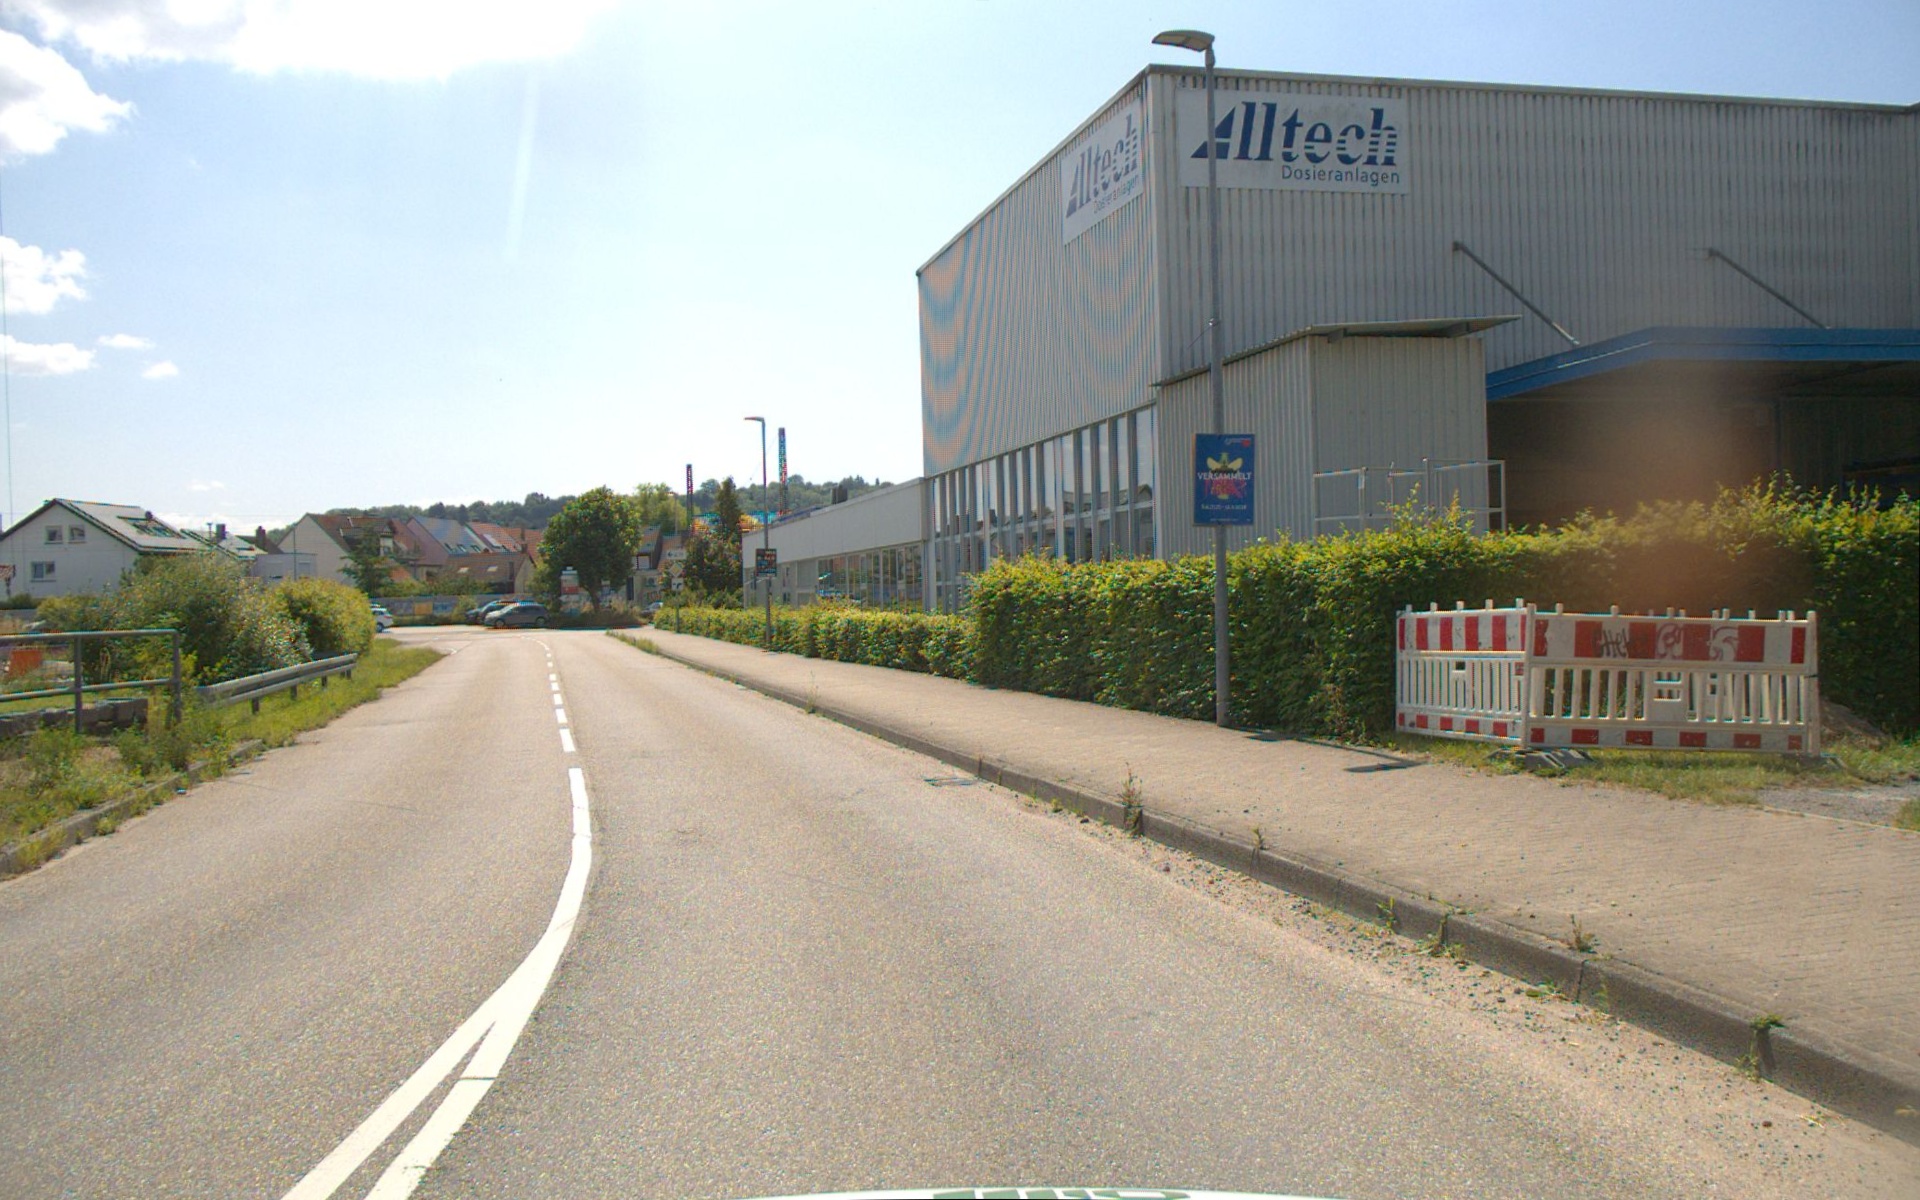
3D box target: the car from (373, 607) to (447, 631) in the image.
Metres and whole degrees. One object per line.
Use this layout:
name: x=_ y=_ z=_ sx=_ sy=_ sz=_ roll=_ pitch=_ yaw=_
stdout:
car: x=-34.750 y=1.204 z=104.554 sx=4.232 sy=1.503 sz=1.811 roll=1 pitch=-1 yaw=-27

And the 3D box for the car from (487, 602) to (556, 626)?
car: x=-28.554 y=0.917 z=107.721 sx=4.132 sy=1.488 sz=1.652 roll=-1 pitch=-1 yaw=-24

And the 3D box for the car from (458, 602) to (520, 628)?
car: x=-32.553 y=1.072 z=114.276 sx=3.936 sy=1.760 sz=1.756 roll=1 pitch=-1 yaw=-25
